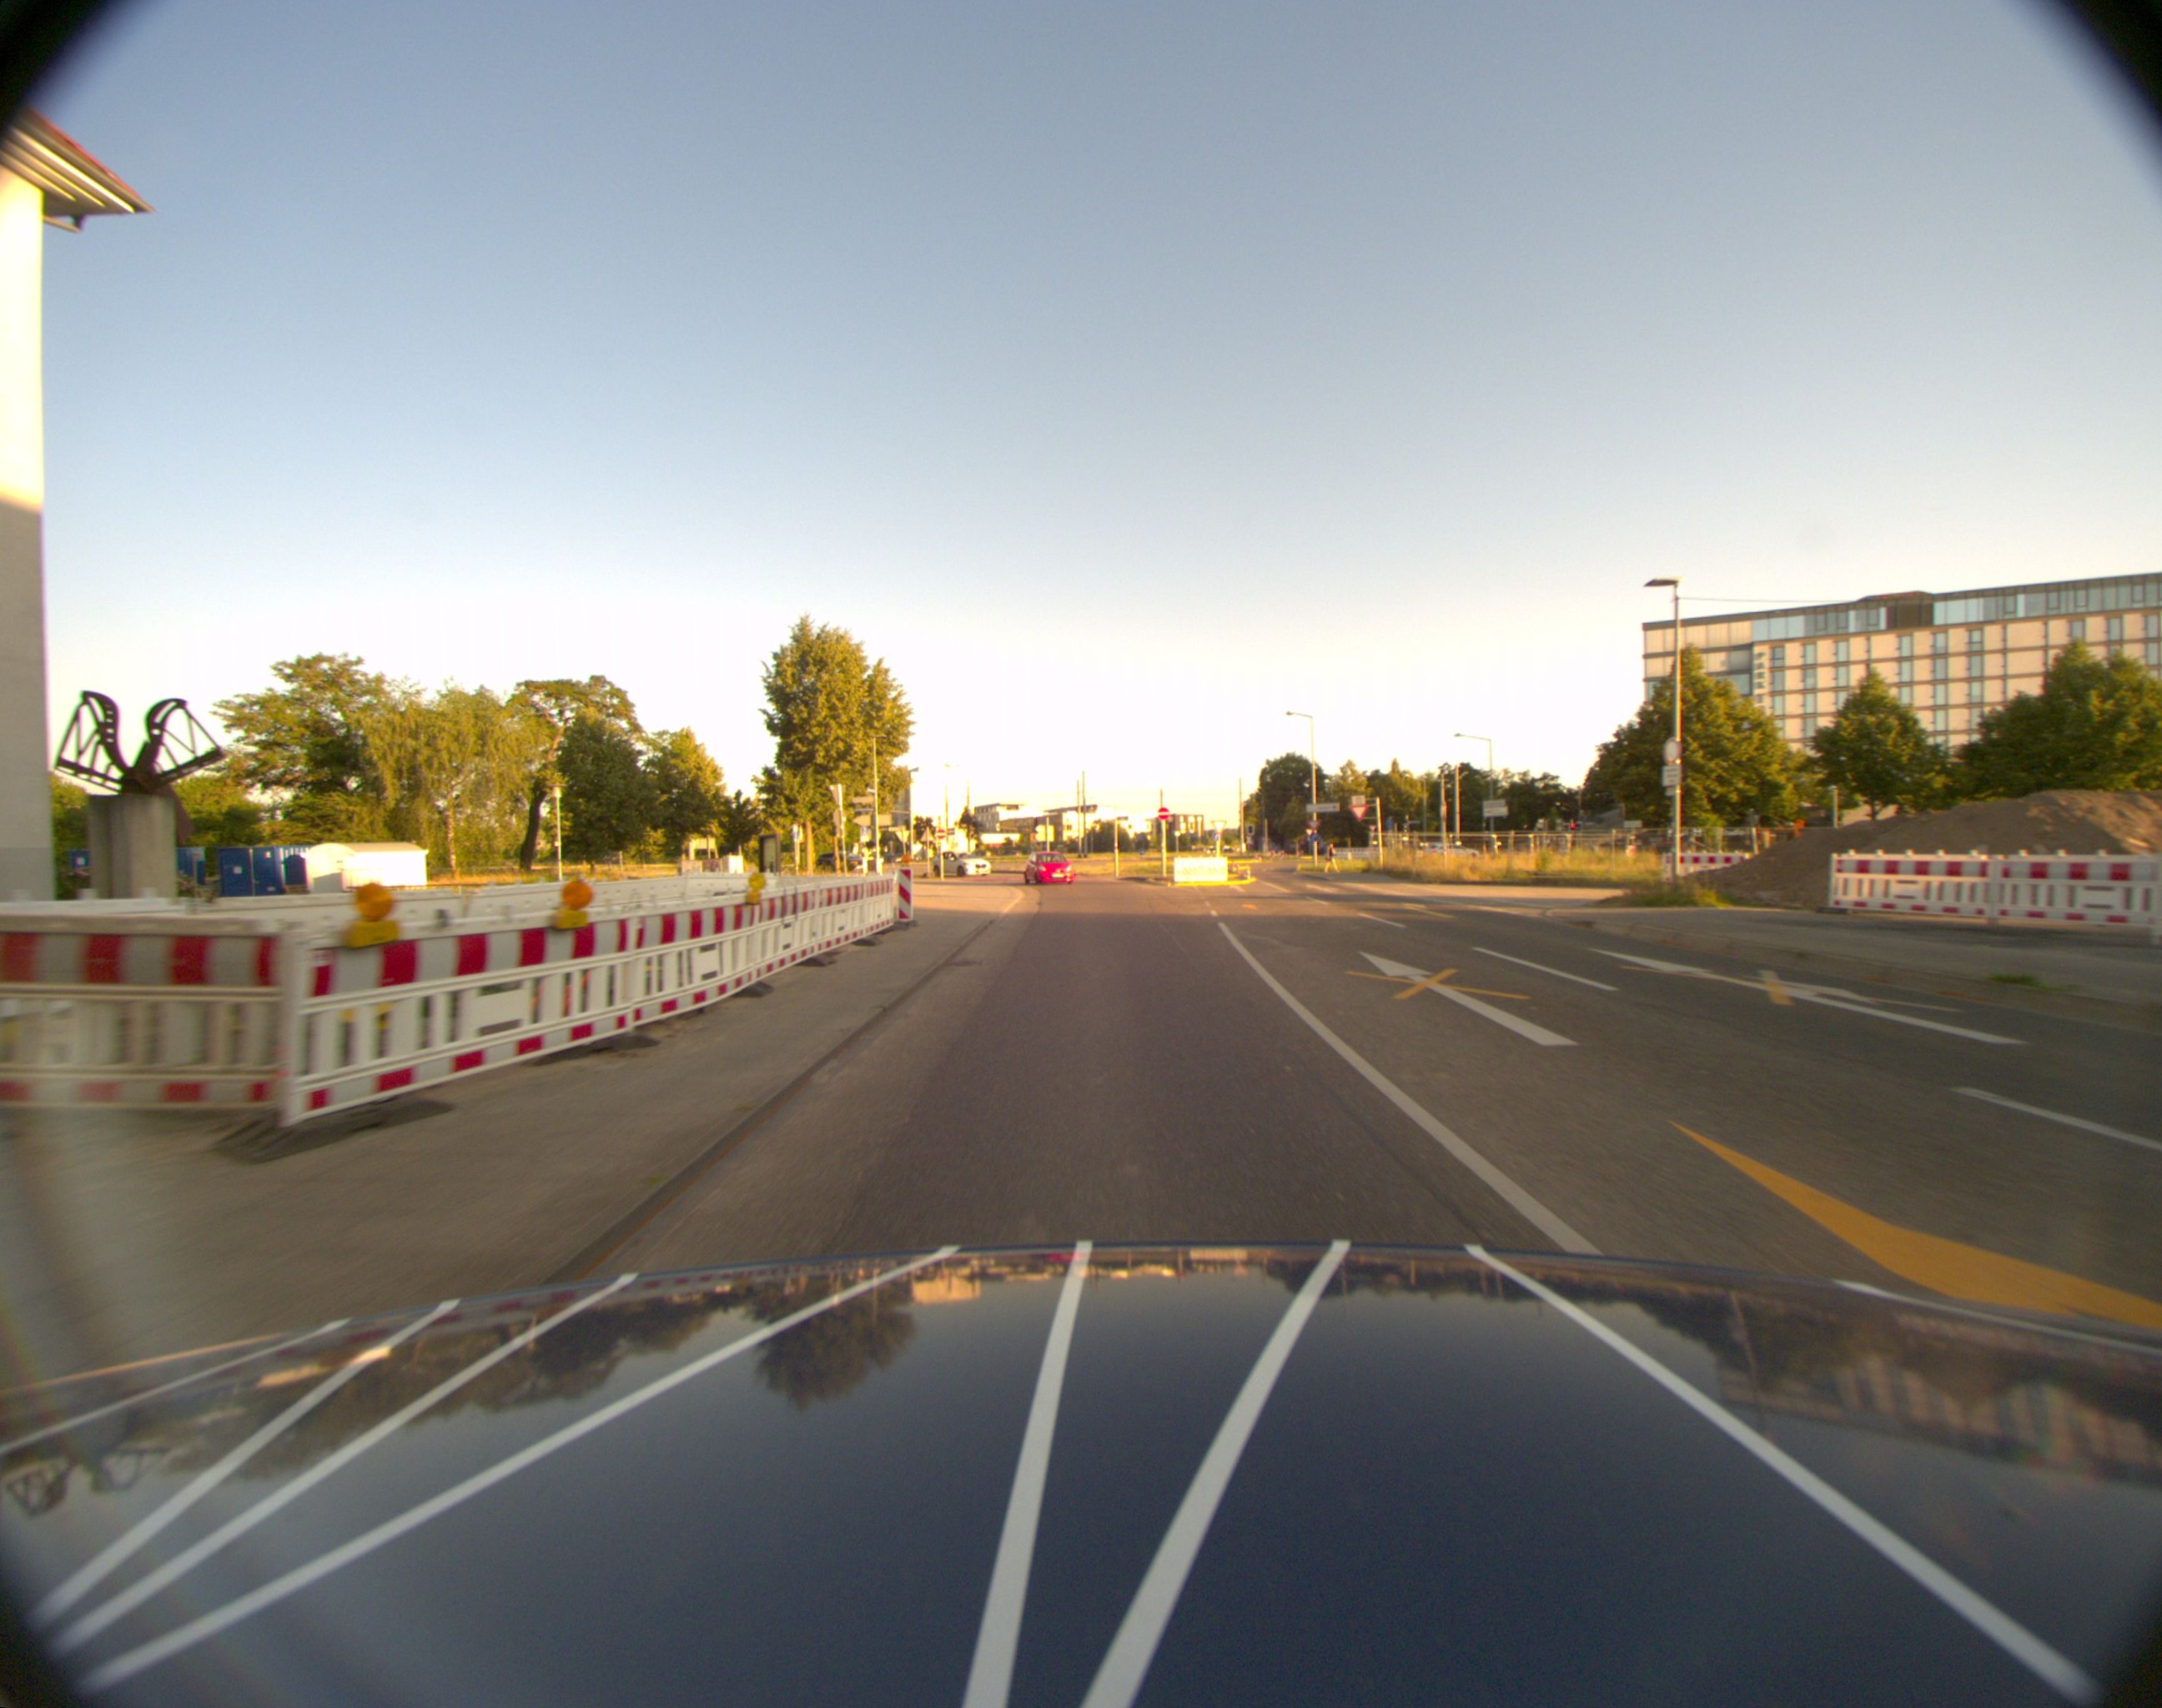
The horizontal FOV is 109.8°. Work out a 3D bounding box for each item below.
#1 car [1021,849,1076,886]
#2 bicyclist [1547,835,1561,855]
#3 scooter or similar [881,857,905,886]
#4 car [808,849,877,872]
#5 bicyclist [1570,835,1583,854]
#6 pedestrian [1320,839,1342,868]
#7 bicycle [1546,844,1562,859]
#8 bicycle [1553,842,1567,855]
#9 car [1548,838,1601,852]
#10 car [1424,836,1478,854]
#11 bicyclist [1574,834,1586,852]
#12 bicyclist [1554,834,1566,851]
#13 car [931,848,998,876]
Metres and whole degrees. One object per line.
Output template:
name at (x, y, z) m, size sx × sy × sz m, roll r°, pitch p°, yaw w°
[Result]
car at (-1.541, 0.568, 34.196) m, size 1.620 × 1.405 × 4.404 m, roll -2°, pitch 2°, yaw -14°
bicyclist at (35.770, -0.701, 57.481) m, size 0.699 × 1.483 × 0.975 m, roll 0°, pitch 2°, yaw 22°
scooter or similar at (-8.357, 0.782, 33.830) m, size 0.196 × 1.229 × 1.166 m, roll 0°, pitch 3°, yaw 35°
car at (-17.138, 0.464, 54.635) m, size 4.400 × 1.548 × 1.793 m, roll -1°, pitch 2°, yaw 18°
bicyclist at (38.497, -0.764, 59.004) m, size 0.699 × 1.483 × 0.975 m, roll 1°, pitch 2°, yaw 26°
pedestrian at (14.438, -0.039, 43.922) m, size 0.927 × 1.685 × 0.786 m, roll 0°, pitch 2°, yaw -12°
bicycle at (35.763, -0.209, 57.460) m, size 0.699 × 1.038 × 2.082 m, roll 0°, pitch 2°, yaw 22°
bicycle at (41.897, -0.493, 66.427) m, size 0.699 × 1.038 × 2.082 m, roll 0°, pitch 2°, yaw 22°
car at (54.733, -1.007, 84.309) m, size 4.583 × 1.414 × 1.824 m, roll 0°, pitch 2°, yaw 17°
car at (32.011, -0.806, 65.771) m, size 3.999 × 1.456 × 1.630 m, roll -1°, pitch 2°, yaw -6°
bicyclist at (41.304, -0.935, 62.936) m, size 0.699 × 1.483 × 0.975 m, roll 1°, pitch 2°, yaw 26°
bicyclist at (41.917, -0.985, 66.450) m, size 0.699 × 1.483 × 0.975 m, roll 0°, pitch 2°, yaw 22°
car at (-7.167, 0.453, 46.479) m, size 1.794 × 1.548 × 4.396 m, roll -4°, pitch 3°, yaw -43°
